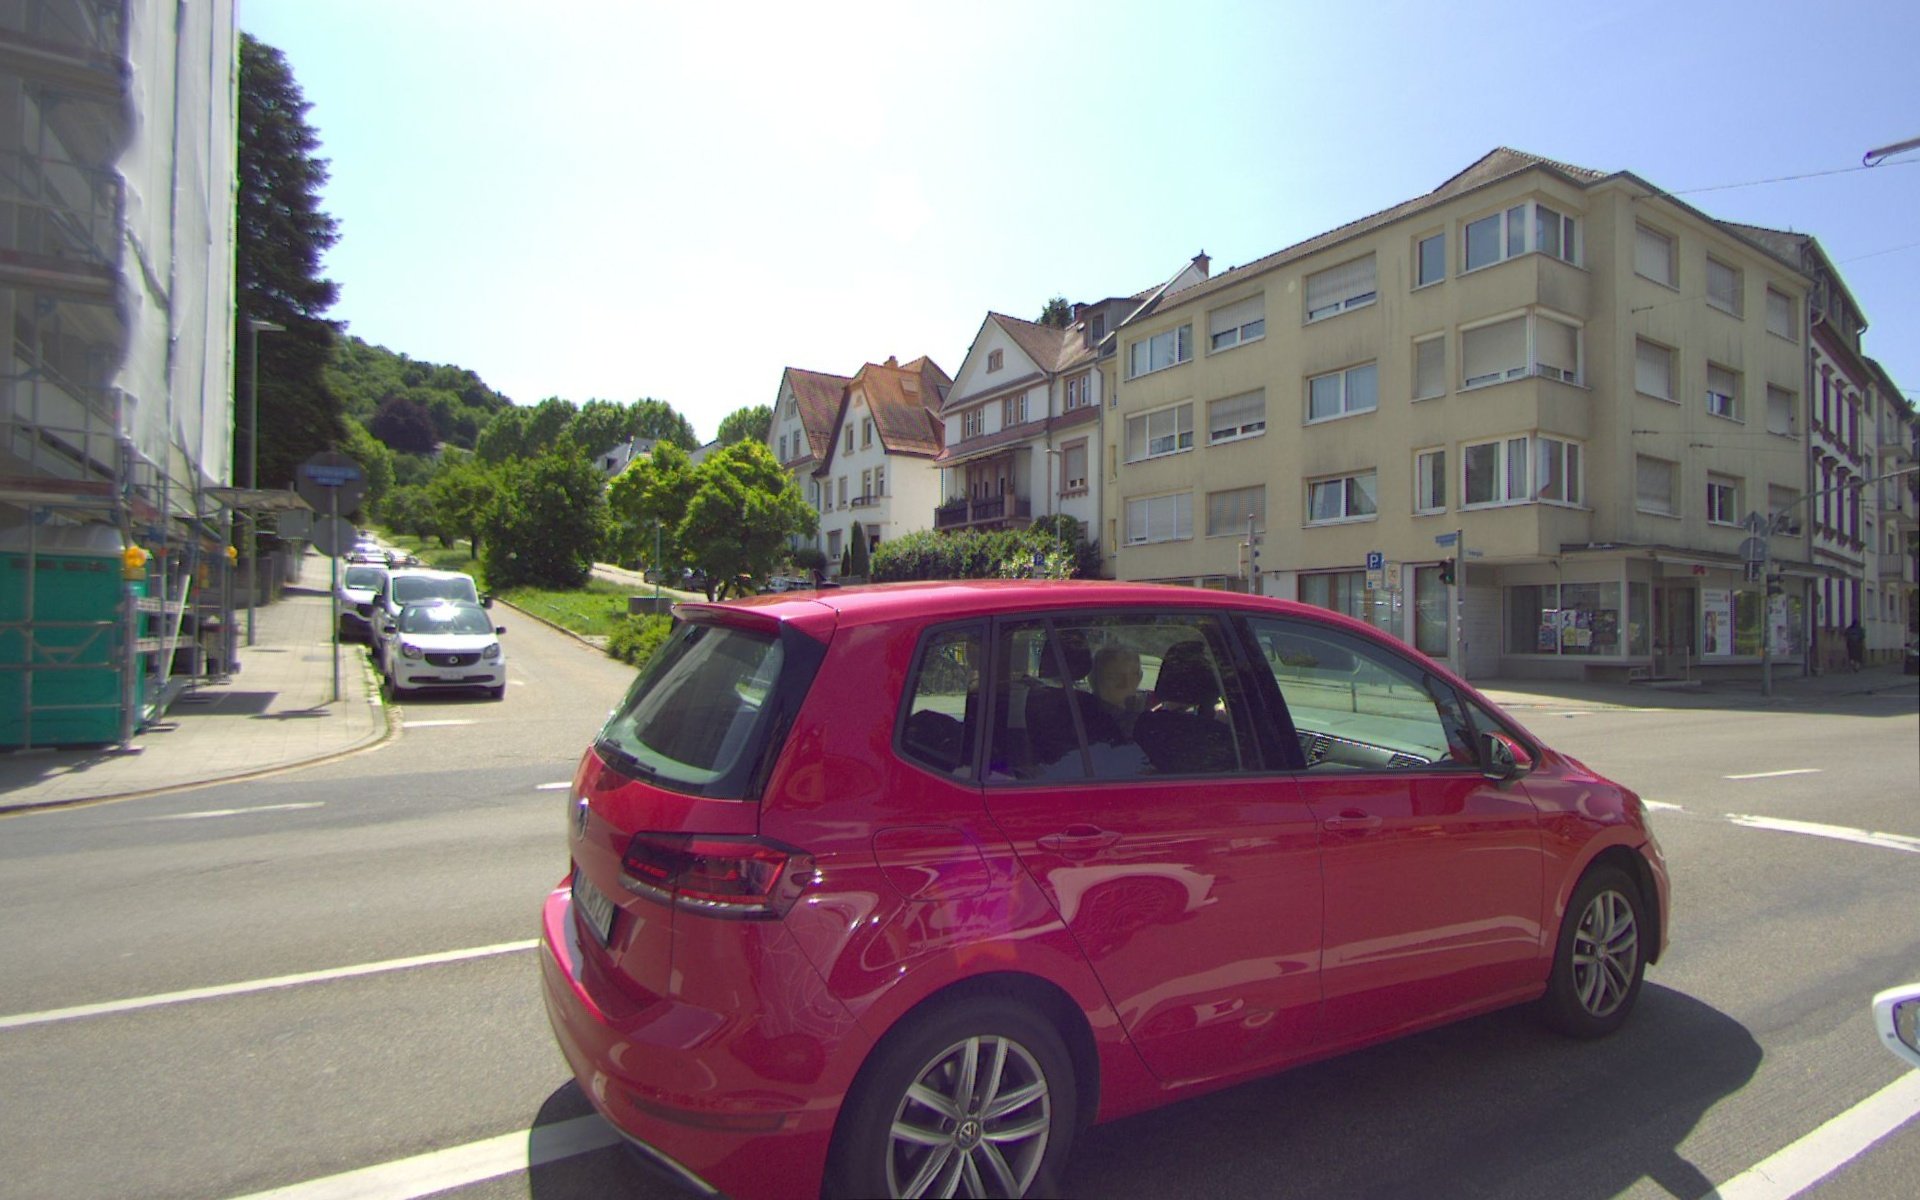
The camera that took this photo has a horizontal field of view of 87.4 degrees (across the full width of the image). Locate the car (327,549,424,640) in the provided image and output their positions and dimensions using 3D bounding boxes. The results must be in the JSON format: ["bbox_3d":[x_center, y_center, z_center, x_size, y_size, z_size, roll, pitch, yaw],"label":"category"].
[{"bbox_3d":[-15.718,-0.220,27.181,2.050,2.206,4.973,1,2,-29],"label":"car"}]

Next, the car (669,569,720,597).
[{"bbox_3d":[-15.956,-1.049,60.234,1.839,1.440,3.963,2,2,-33],"label":"car"}]

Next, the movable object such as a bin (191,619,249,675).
[{"bbox_3d":[-12.780,0.803,17.367,0.695,0.939,0.735,1,0,-29],"label":"movable object such as a bin"}]

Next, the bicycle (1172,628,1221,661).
[{"bbox_3d":[7.787,1.460,33.172,0.493,1.040,1.728,1,-1,-31],"label":"bicycle"}]

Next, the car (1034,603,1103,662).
[{"bbox_3d":[3.445,0.996,31.363,1.959,1.686,4.332,1,-1,8],"label":"car"}]

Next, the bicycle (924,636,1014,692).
[{"bbox_3d":[0.176,1.152,18.403,1.729,0.980,0.394,2,-1,-35],"label":"bicycle"}]

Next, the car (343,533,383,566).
[{"bbox_3d":[-36.249,-3.069,60.940,1.741,1.839,3.701,1,3,-36],"label":"car"}]

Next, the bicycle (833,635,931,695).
[{"bbox_3d":[-1.331,1.108,17.314,1.701,0.980,0.394,2,-1,-35],"label":"bicycle"}]

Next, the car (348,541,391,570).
[{"bbox_3d":[-33.951,-2.562,57.719,1.741,1.467,3.701,1,3,-36],"label":"car"}]

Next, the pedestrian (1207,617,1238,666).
[{"bbox_3d":[8.088,1.279,30.943,0.641,1.495,0.683,1,-1,-29],"label":"pedestrian"}]

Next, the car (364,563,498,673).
[{"bbox_3d":[-11.719,0.299,22.064,1.980,2.041,4.962,1,2,-35],"label":"car"}]

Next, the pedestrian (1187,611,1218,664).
[{"bbox_3d":[7.730,1.189,32.030,0.641,1.654,0.683,1,-1,-29],"label":"pedestrian"}]

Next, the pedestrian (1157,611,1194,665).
[{"bbox_3d":[6.772,1.193,31.564,0.813,1.654,0.798,1,-1,-29],"label":"pedestrian"}]

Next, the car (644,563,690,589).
[{"bbox_3d":[-19.091,-1.580,65.363,1.839,1.440,3.963,2,2,-33],"label":"car"}]

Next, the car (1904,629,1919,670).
[{"bbox_3d":[38.274,1.976,39.100,3.972,1.539,1.975,3,-2,-43],"label":"car"}]

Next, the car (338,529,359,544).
[{"bbox_3d":[-64.009,-6.617,105.134,1.739,1.467,3.706,1,3,-32],"label":"car"}]

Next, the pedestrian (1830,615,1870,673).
[{"bbox_3d":[30.594,1.491,34.514,0.970,1.957,0.926,2,-2,-42],"label":"pedestrian"}]

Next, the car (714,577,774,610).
[{"bbox_3d":[-11.351,-0.357,52.584,1.790,1.440,3.963,2,2,-33],"label":"car"}]

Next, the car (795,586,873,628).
[{"bbox_3d":[-5.491,0.278,43.373,1.790,1.571,3.963,2,2,-33],"label":"car"}]

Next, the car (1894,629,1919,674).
[{"bbox_3d":[34.833,1.883,35.853,3.973,1.539,1.974,3,-2,-44],"label":"car"}]

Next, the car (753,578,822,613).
[{"bbox_3d":[-8.219,-0.214,47.567,1.790,1.406,3.963,2,2,-33],"label":"car"}]

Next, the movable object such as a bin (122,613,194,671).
[{"bbox_3d":[-13.502,0.698,16.931,0.816,0.939,0.735,1,0,-29],"label":"movable object such as a bin"}]

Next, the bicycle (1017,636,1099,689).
[{"bbox_3d":[1.924,1.203,19.556,1.765,0.980,0.394,2,-1,-35],"label":"bicycle"}]

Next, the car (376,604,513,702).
[{"bbox_3d":[-9.016,0.839,17.424,1.739,1.466,3.705,1,0,-33],"label":"car"}]

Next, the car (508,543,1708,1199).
[{"bbox_3d":[0.663,0.738,3.582,3.990,1.578,1.790,2,-1,-30],"label":"car"}]

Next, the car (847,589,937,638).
[{"bbox_3d":[-2.705,0.507,39.111,1.790,1.638,3.963,2,2,-33],"label":"car"}]
